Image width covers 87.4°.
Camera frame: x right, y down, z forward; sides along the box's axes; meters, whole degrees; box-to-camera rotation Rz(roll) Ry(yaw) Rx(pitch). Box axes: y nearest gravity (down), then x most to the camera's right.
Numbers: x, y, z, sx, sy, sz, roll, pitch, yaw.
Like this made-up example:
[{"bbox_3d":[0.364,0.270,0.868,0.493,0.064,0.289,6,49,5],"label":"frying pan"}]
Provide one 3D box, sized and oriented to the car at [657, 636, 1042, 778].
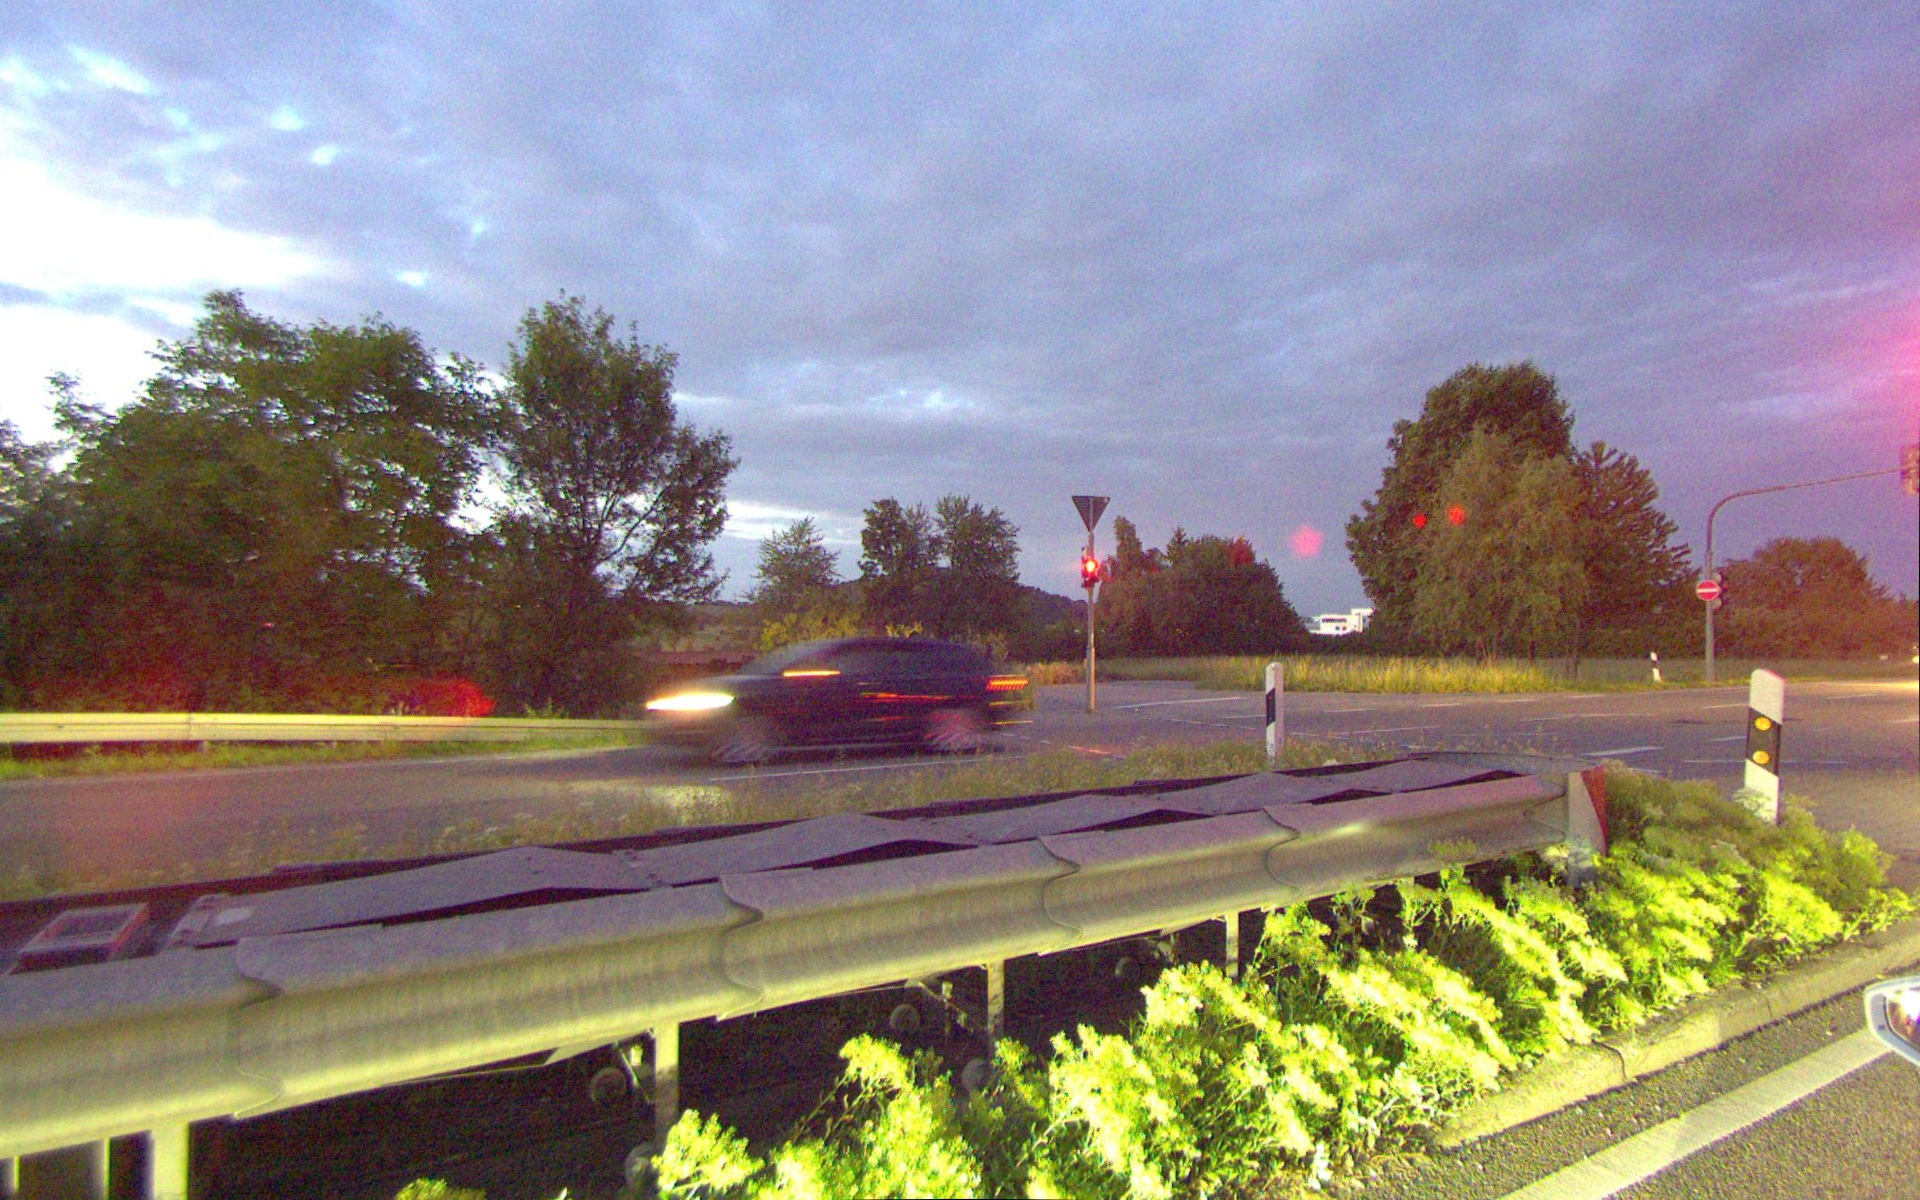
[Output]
[{"bbox_3d":[-1.315,1.214,12.594,4.533,1.524,1.622,1,-2,-28],"label":"car"}]
